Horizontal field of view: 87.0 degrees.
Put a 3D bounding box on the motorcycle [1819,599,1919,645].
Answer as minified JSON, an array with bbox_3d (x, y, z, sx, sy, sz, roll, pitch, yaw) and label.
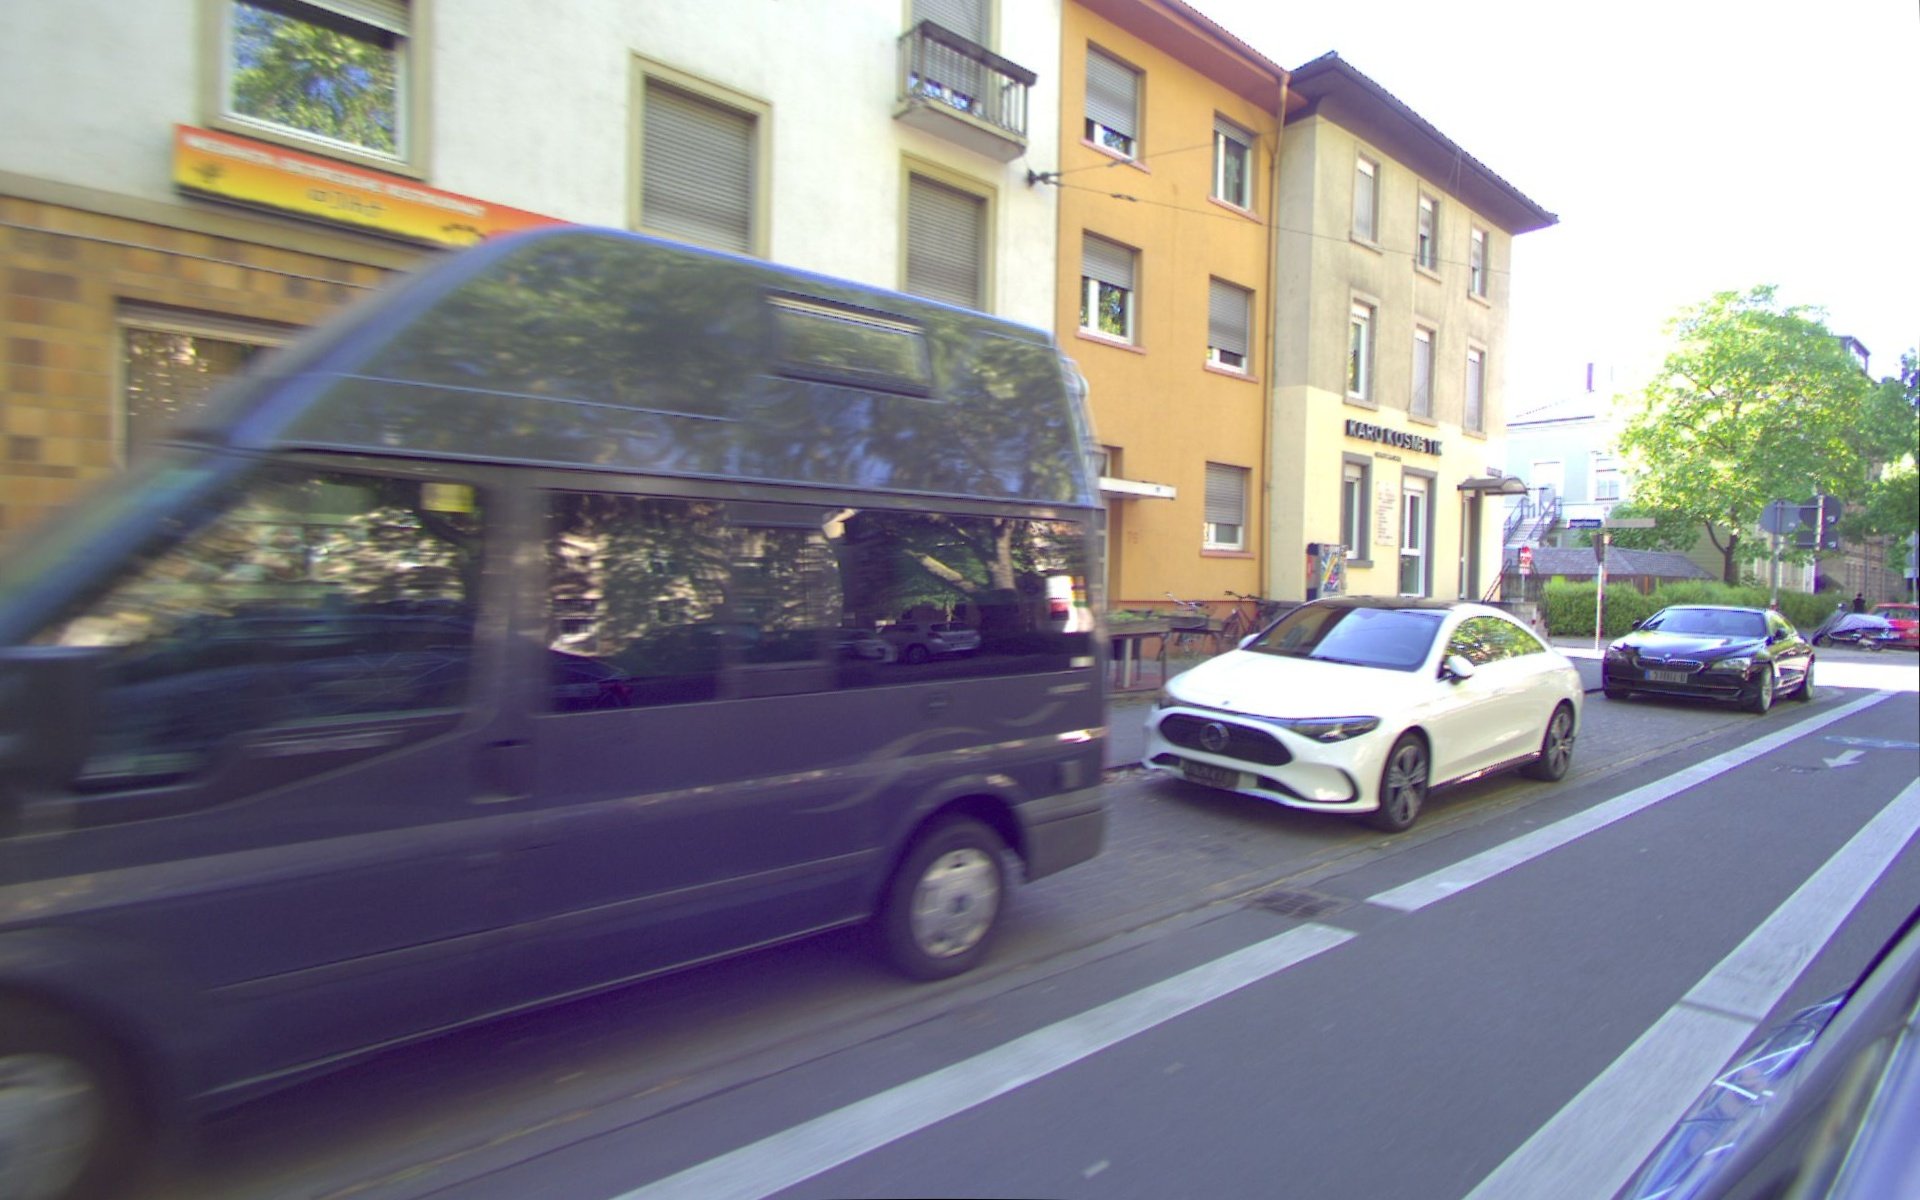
[{"bbox_3d":[27.030,0.643,30.115,0.812,1.172,2.074,0,4,-36],"label":"motorcycle"}]

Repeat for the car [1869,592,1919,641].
[{"bbox_3d":[30.094,0.510,31.906,3.797,1.397,1.607,0,3,-41],"label":"car"}]

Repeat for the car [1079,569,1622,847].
[{"bbox_3d":[3.299,0.590,8.047,4.656,1.511,1.998,0,3,-40],"label":"car"}]

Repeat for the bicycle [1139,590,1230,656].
[{"bbox_3d":[3.627,0.354,16.282,1.826,1.010,0.427,0,1,-41],"label":"bicycle"}]

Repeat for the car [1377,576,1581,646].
[{"bbox_3d":[13.751,0.247,27.070,1.866,1.660,4.462,3,-1,-36],"label":"car"}]

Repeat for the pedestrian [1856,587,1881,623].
[{"bbox_3d":[43.627,0.254,48.595,0.869,1.699,0.813,0,1,-41],"label":"pedestrian"}]

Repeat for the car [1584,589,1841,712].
[{"bbox_3d":[11.010,0.608,14.688,4.657,1.397,1.998,0,4,-41],"label":"car"}]

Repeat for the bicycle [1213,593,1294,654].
[{"bbox_3d":[5.095,0.382,17.504,1.826,1.010,0.427,0,1,-41],"label":"bicycle"}]

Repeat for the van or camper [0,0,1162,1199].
[{"bbox_3d":[-1.675,0.020,3.778,4.892,2.695,2.137,0,3,-41],"label":"van or camper"}]

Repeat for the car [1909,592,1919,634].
[{"bbox_3d":[36.882,0.500,37.762,4.071,1.505,1.694,0,3,-41],"label":"car"}]
